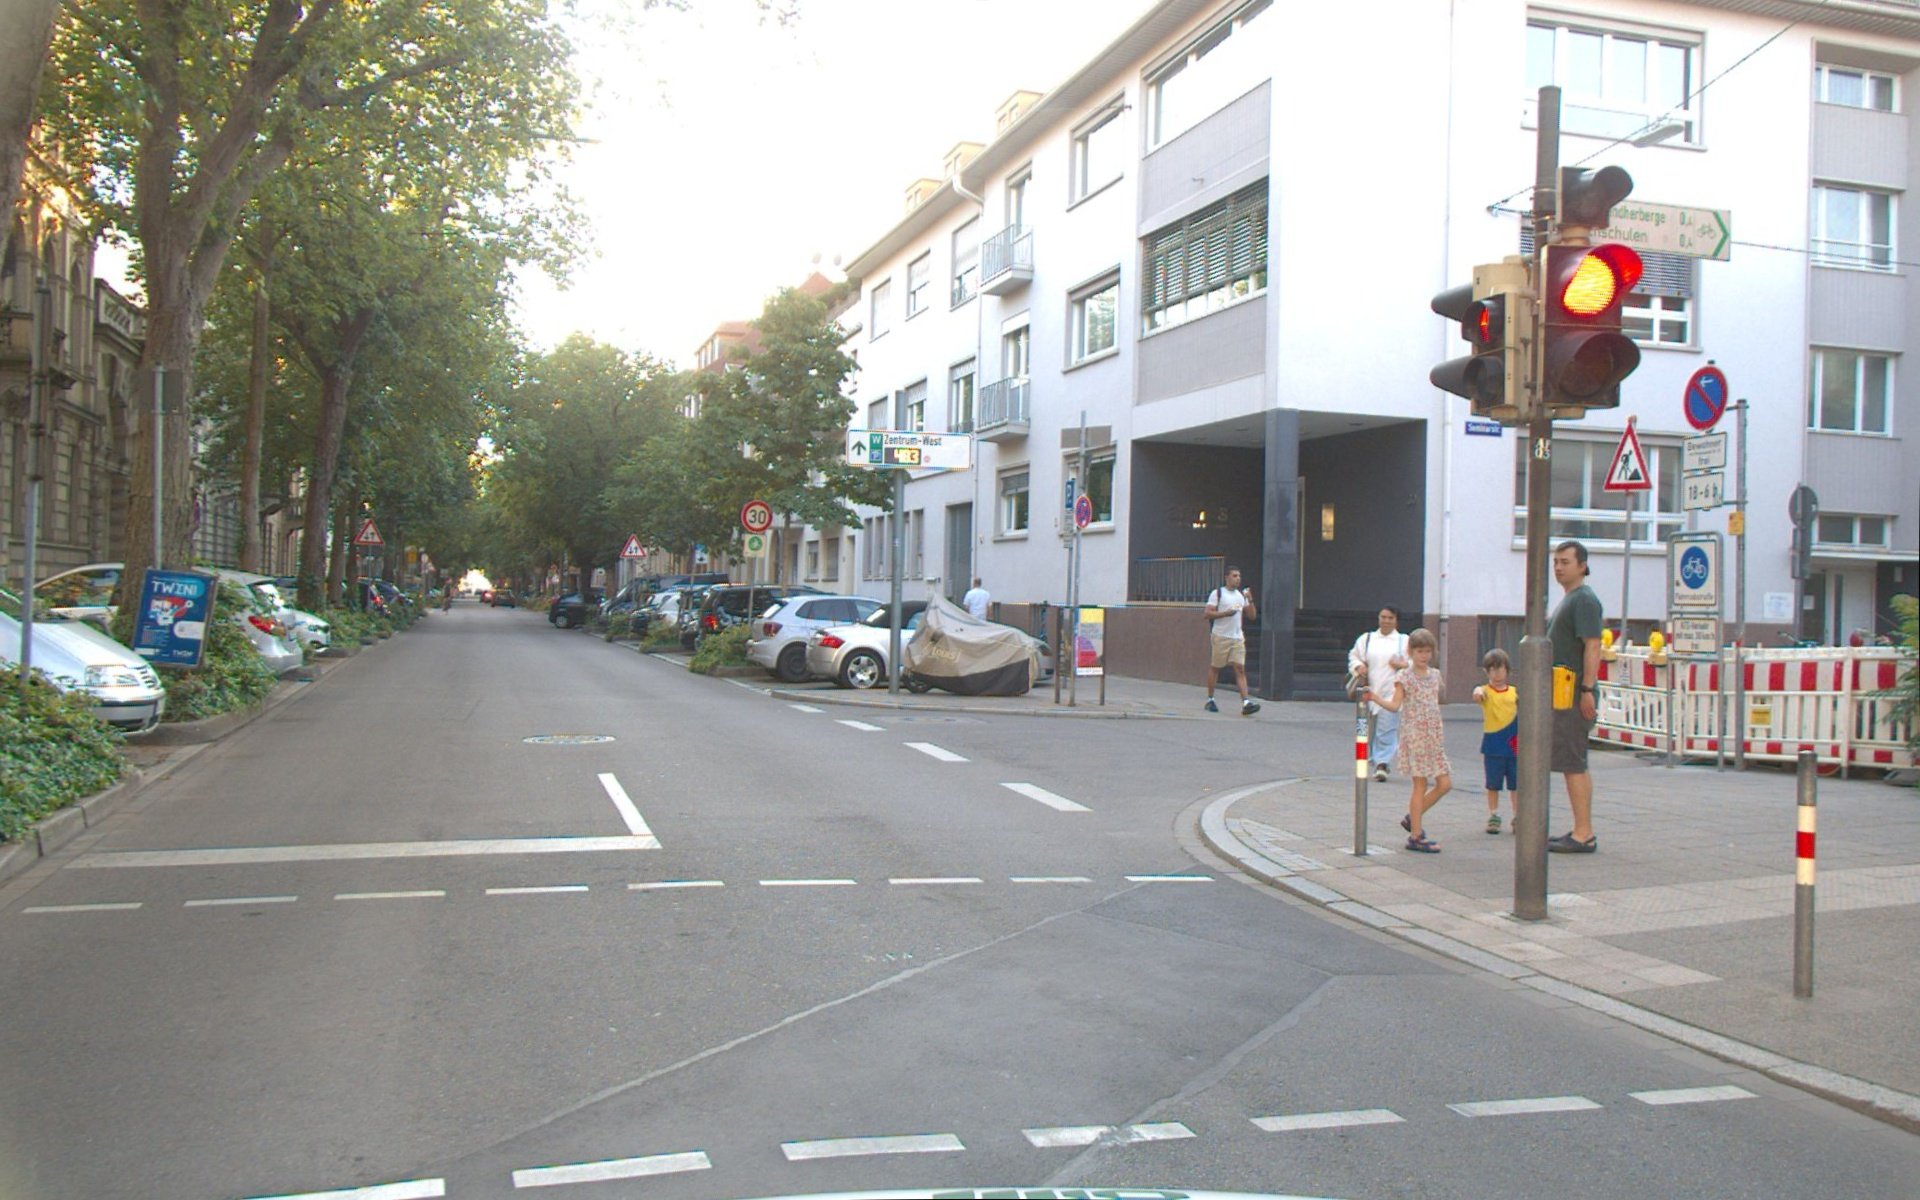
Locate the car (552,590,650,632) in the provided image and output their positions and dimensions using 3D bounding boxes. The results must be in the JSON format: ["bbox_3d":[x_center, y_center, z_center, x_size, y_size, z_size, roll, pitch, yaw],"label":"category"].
[{"bbox_3d":[-14.989,0.457,69.208,3.907,1.605,1.905,2,-1,-11],"label":"car"}]

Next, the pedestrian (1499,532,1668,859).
[{"bbox_3d":[3.701,0.526,9.893,0.869,1.847,0.794,1,2,18],"label":"pedestrian"}]

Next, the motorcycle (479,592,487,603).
[{"bbox_3d":[-54.549,-0.263,189.285,0.805,1.258,2.016,3,-1,-16],"label":"motorcycle"}]

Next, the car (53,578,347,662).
[{"bbox_3d":[-13.392,0.362,29.438,4.474,1.396,1.825,1,0,-16],"label":"car"}]

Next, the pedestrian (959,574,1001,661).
[{"bbox_3d":[0.422,0.357,34.512,0.691,1.782,0.697,2,0,-13],"label":"pedestrian"}]

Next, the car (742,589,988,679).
[{"bbox_3d":[-1.648,0.582,28.415,3.950,1.467,1.699,1,0,-17],"label":"car"}]

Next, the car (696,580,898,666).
[{"bbox_3d":[-3.424,0.476,34.539,3.950,1.720,1.699,1,0,-17],"label":"car"}]

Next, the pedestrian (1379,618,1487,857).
[{"bbox_3d":[2.806,0.796,9.842,0.494,1.359,0.541,2,0,6],"label":"pedestrian"}]

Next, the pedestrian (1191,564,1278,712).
[{"bbox_3d":[3.569,0.479,21.558,0.754,1.873,0.939,2,0,-16],"label":"pedestrian"}]

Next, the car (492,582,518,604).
[{"bbox_3d":[-35.954,-0.572,130.630,1.796,1.589,4.008,3,0,-17],"label":"car"}]

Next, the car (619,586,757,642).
[{"bbox_3d":[-8.263,0.419,50.166,3.950,1.557,1.699,2,0,-17],"label":"car"}]

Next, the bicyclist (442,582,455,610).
[{"bbox_3d":[-27.190,-0.206,87.854,0.563,1.495,0.638,2,-1,-22],"label":"bicyclist"}]

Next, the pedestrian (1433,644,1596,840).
[{"bbox_3d":[3.500,0.872,10.475,0.558,1.140,0.830,0,1,-27],"label":"pedestrian"}]

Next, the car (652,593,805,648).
[{"bbox_3d":[-6.359,0.560,45.348,3.950,1.434,1.699,1,0,-17],"label":"car"}]

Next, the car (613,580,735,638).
[{"bbox_3d":[-9.908,0.304,57.245,3.950,1.862,1.699,2,0,-17],"label":"car"}]

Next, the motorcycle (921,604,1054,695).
[{"bbox_3d":[0.375,0.685,22.986,1.766,1.220,0.612,1,0,-8],"label":"motorcycle"}]

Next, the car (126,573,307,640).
[{"bbox_3d":[-19.064,0.174,42.566,3.973,1.618,1.825,1,0,-16],"label":"car"}]

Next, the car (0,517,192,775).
[{"bbox_3d":[-8.350,0.306,12.420,4.480,1.867,1.823,1,0,-20],"label":"car"}]

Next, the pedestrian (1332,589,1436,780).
[{"bbox_3d":[3.521,0.673,13.701,0.758,1.527,0.802,0,0,21],"label":"pedestrian"}]

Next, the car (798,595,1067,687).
[{"bbox_3d":[-0.454,0.640,26.059,3.949,1.366,1.699,1,0,-16],"label":"car"}]

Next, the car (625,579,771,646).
[{"bbox_3d":[-7.520,0.361,47.420,3.950,1.847,1.699,1,0,-17],"label":"car"}]

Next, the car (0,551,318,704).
[{"bbox_3d":[-10.157,0.317,19.716,4.474,1.718,1.825,1,0,-16],"label":"car"}]

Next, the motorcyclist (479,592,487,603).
[{"bbox_3d":[-54.553,-0.262,189.305,0.805,1.258,0.846,3,-1,-17],"label":"motorcyclist"}]

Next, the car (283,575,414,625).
[{"bbox_3d":[-23.092,0.006,62.652,4.474,1.721,1.825,2,0,-16],"label":"car"}]

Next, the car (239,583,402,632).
[{"bbox_3d":[-19.634,0.225,50.965,4.474,1.434,1.825,1,0,-16],"label":"car"}]

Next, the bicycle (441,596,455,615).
[{"bbox_3d":[-27.215,0.302,87.870,0.563,0.966,1.732,2,-1,-22],"label":"bicycle"}]
